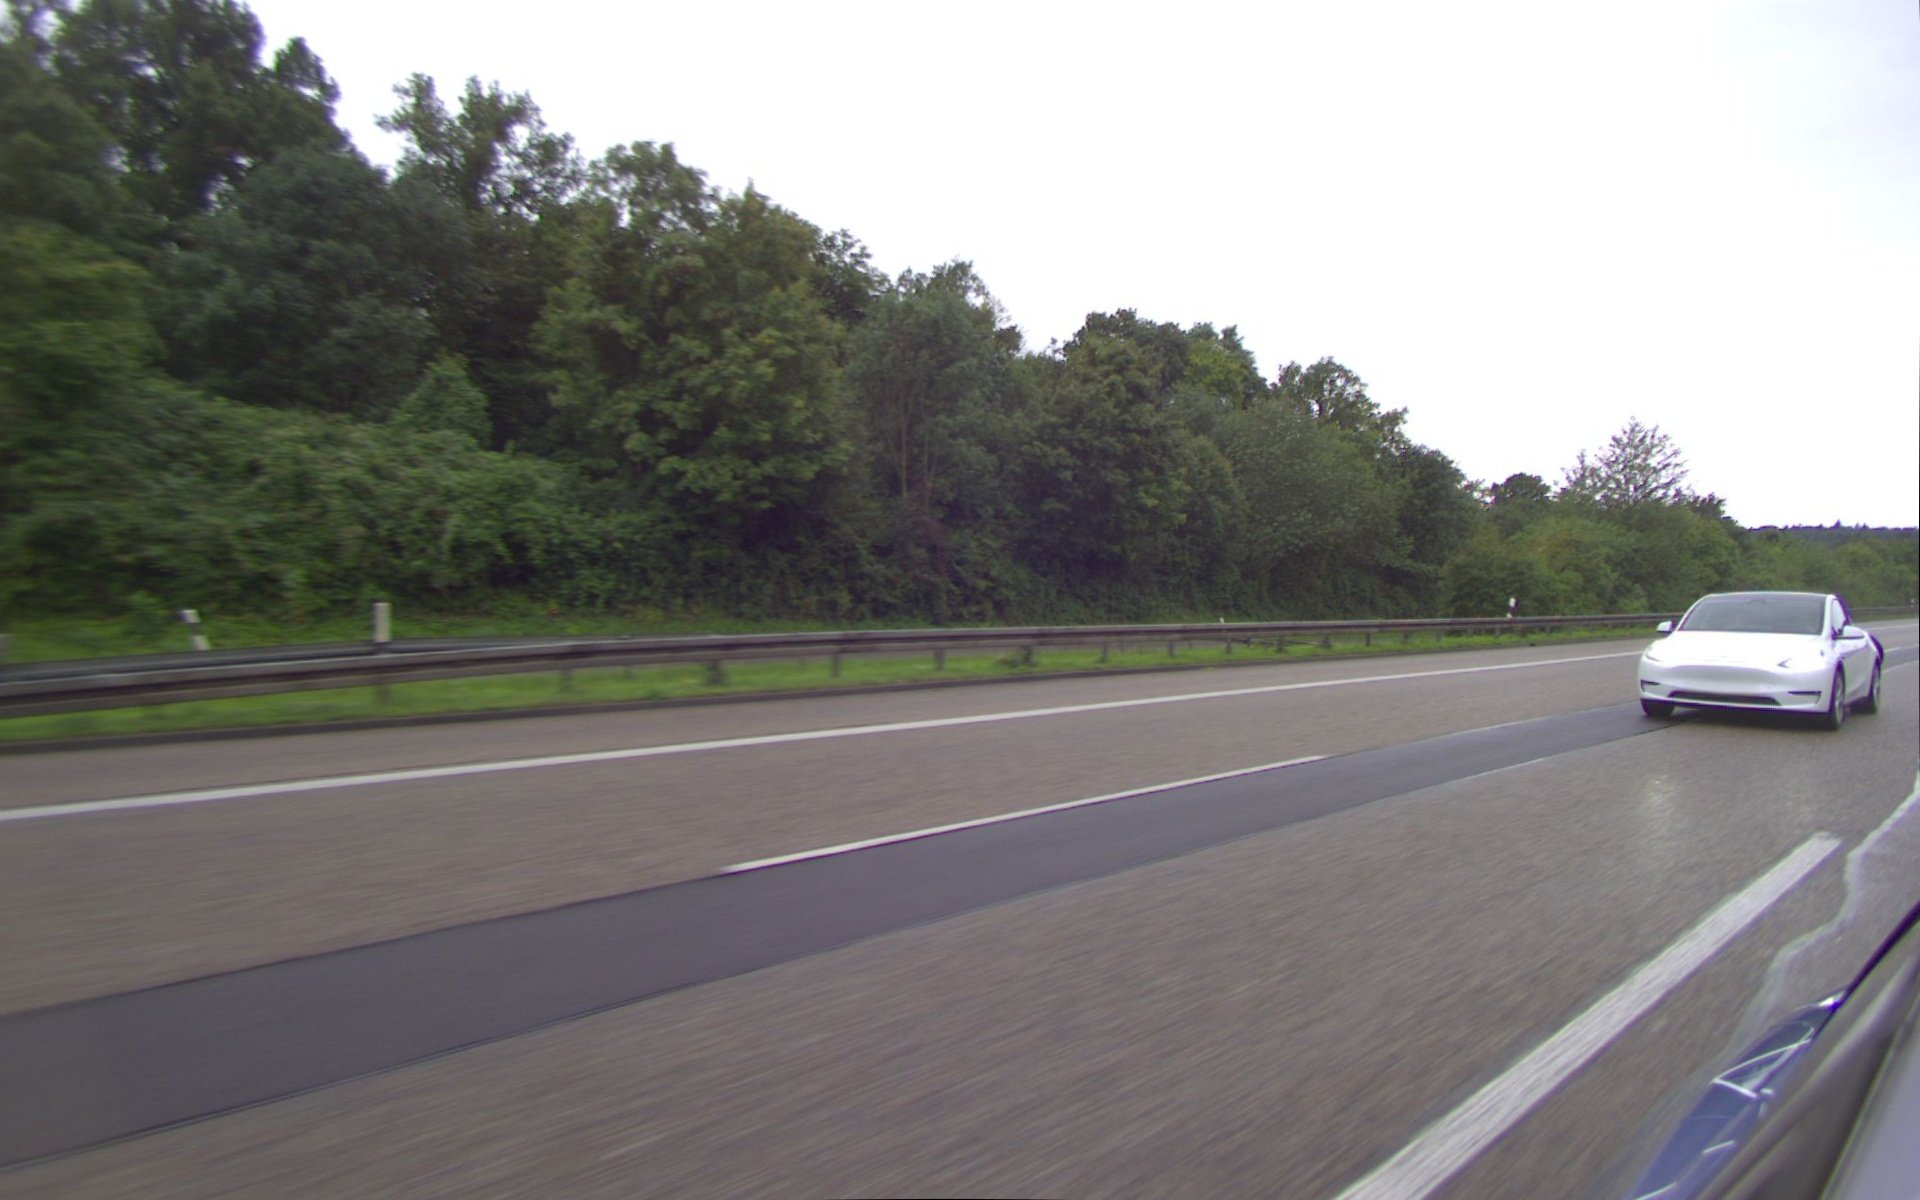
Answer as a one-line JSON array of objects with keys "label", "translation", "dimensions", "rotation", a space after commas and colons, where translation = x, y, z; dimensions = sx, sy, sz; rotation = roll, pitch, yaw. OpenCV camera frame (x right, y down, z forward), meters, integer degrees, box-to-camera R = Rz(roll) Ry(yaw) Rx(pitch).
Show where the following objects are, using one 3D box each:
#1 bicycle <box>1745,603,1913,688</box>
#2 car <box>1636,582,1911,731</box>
[{"label": "bicycle", "translation": [12.807, 0.638, 14.957], "dimensions": [0.898, 1.104, 1.757], "rotation": [-2, 2, -39]}, {"label": "car", "translation": [10.658, 0.571, 13.114], "dimensions": [4.876, 1.587, 1.864], "rotation": [-1, 1, -40]}]
